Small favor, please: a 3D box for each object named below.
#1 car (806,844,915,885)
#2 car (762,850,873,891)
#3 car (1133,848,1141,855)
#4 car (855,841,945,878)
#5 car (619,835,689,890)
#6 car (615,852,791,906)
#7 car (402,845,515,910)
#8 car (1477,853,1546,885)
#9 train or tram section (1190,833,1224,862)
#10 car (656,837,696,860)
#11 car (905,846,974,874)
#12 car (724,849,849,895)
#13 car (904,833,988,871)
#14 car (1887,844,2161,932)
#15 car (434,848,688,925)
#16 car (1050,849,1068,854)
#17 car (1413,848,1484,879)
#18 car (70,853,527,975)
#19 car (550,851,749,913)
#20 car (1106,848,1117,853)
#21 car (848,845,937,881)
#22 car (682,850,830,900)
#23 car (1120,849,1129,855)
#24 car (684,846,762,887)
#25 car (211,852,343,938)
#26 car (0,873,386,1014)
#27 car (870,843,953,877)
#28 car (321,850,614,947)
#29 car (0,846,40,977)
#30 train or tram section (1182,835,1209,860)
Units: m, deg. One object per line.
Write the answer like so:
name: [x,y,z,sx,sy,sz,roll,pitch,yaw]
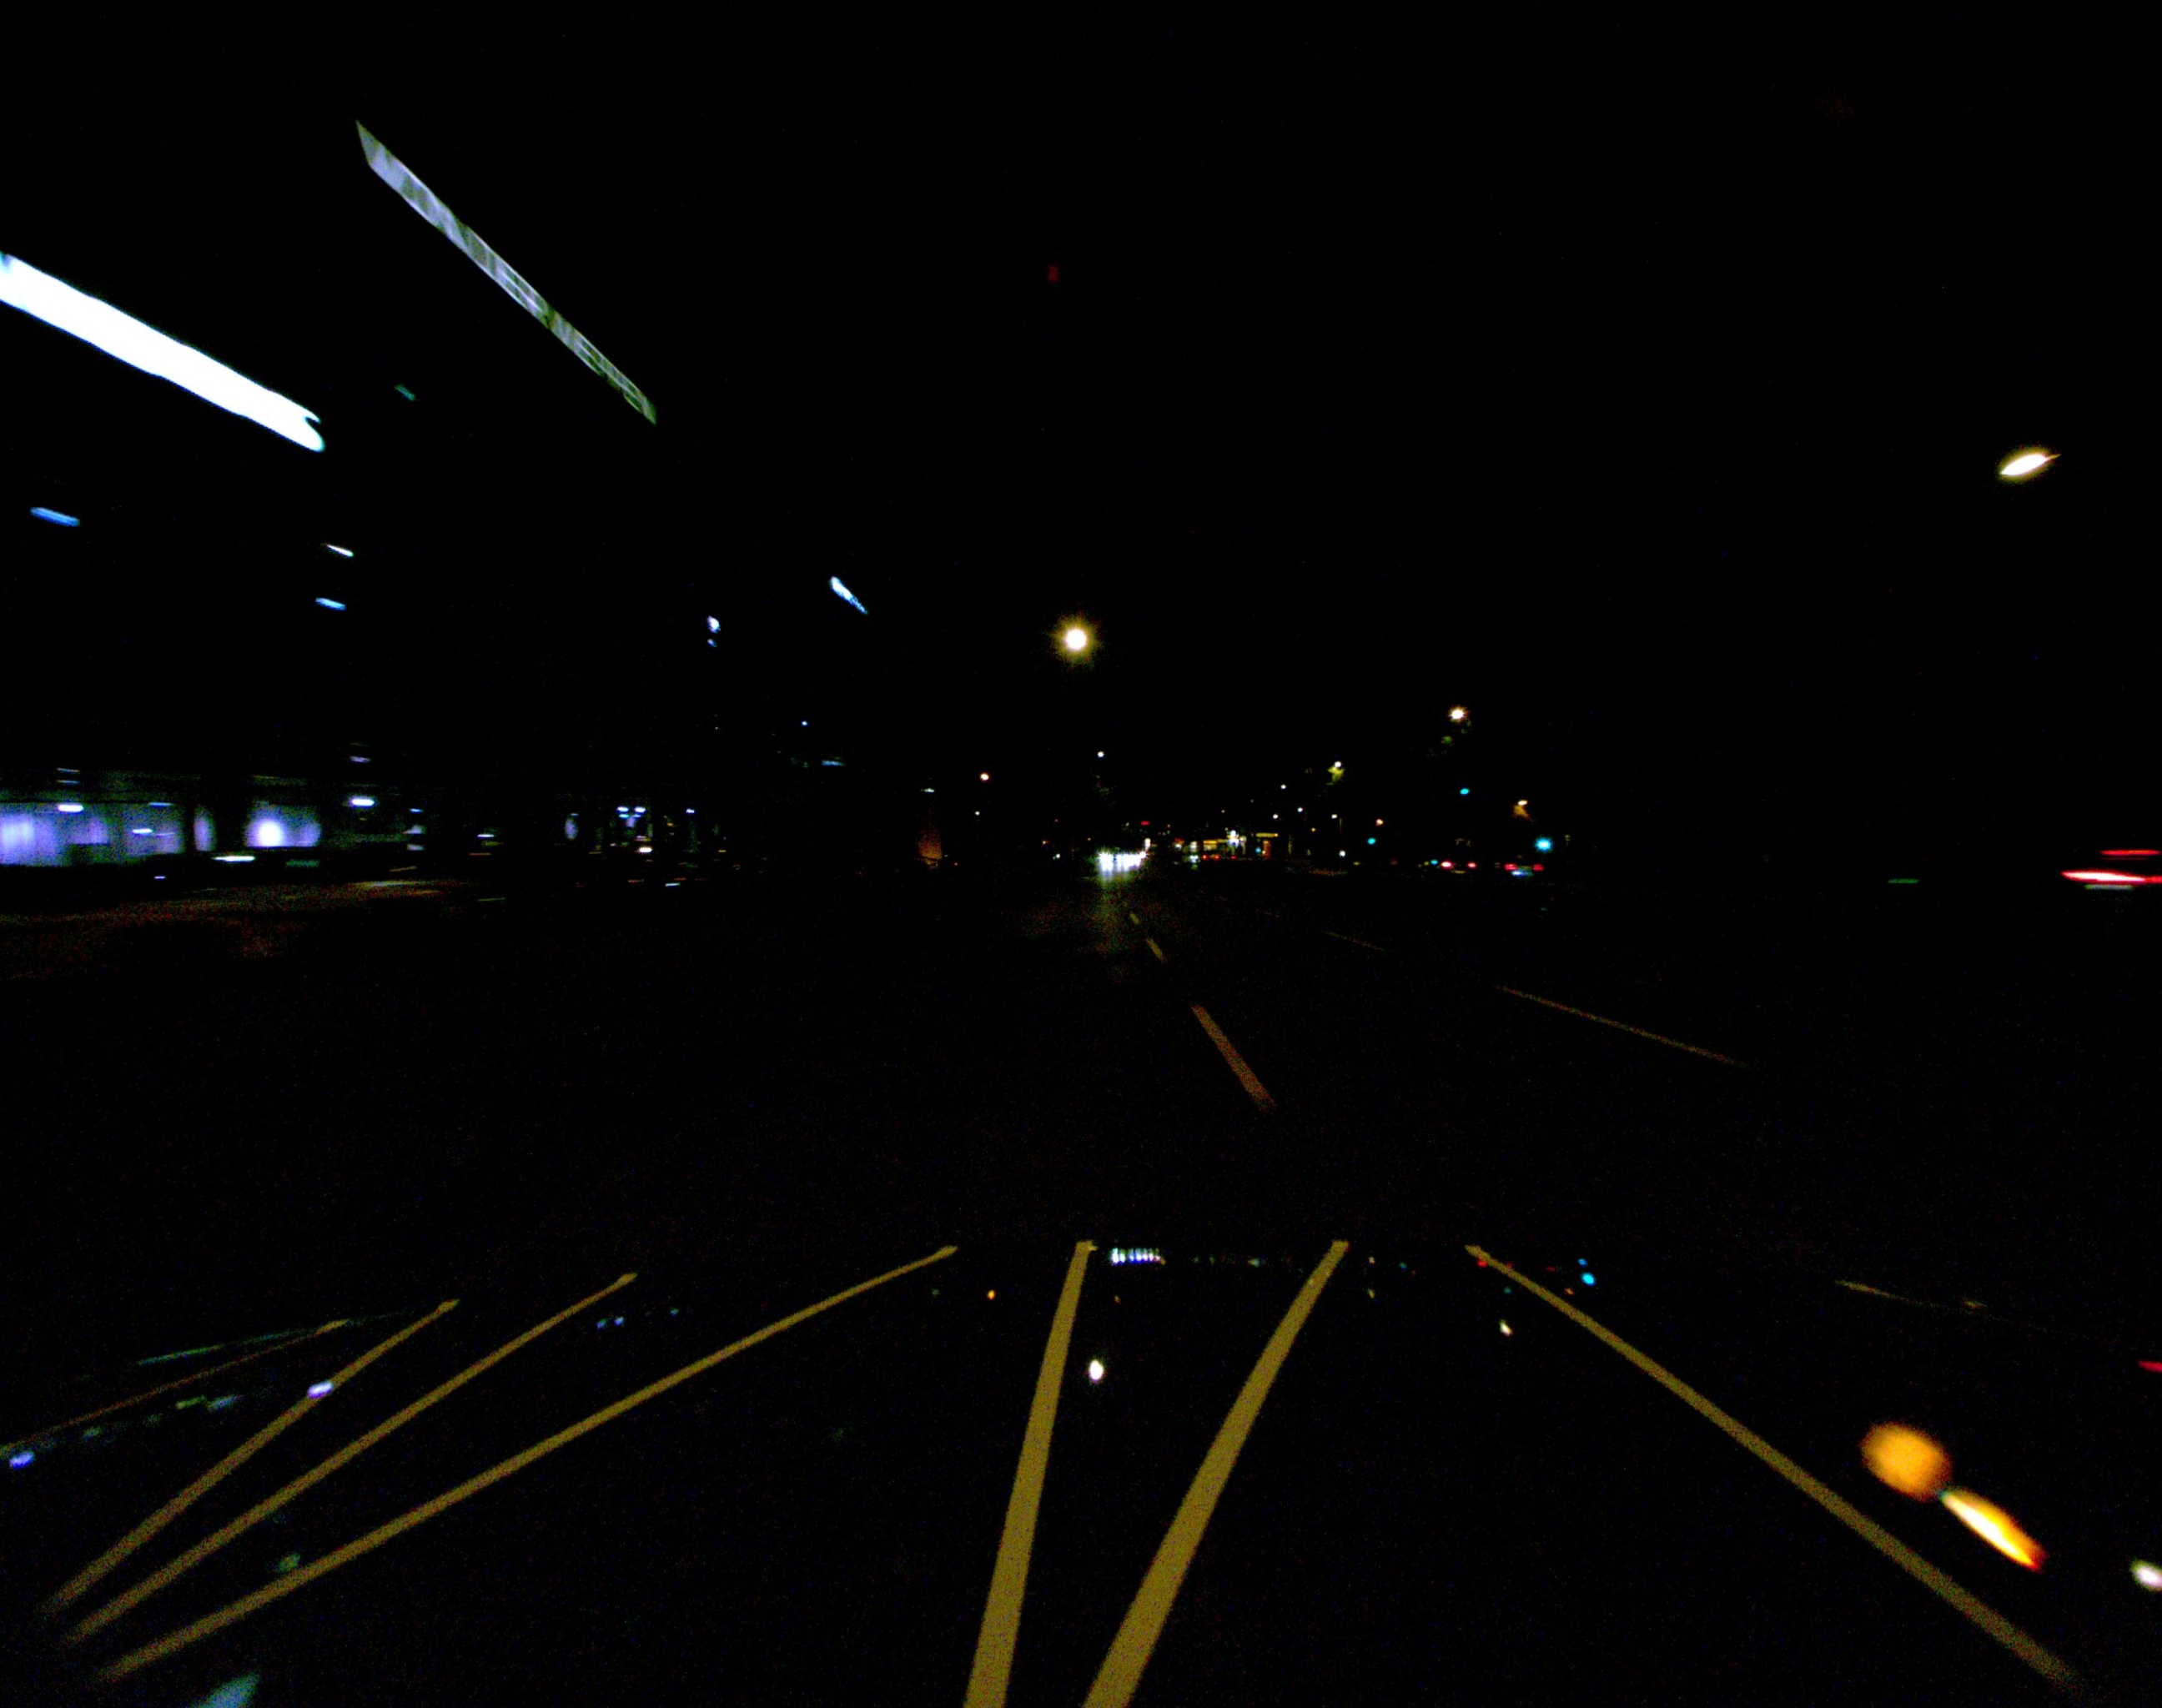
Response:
car: [-10.009,0.478,34.785,4.475,1.539,1.768,4,1,-7]
car: [-10.124,0.630,29.409,3.815,1.444,1.715,2,0,-12]
car: [13.174,-0.637,179.034,1.907,1.609,3.719,-1,1,4]
car: [-9.679,0.316,40.937,4.475,1.677,1.998,4,0,-9]
car: [-16.358,0.290,28.971,1.838,1.907,4.815,-2,1,-35]
car: [-10.431,0.678,21.235,4.000,1.373,1.807,2,0,-9]
car: [-15.458,0.517,19.051,1.629,1.456,3.785,-1,0,-31]
car: [22.965,0.760,40.691,1.664,1.508,3.911,-1,1,4]
train or tram section: [18.117,-0.997,110.395,2.765,3.805,18.673,-1,0,3]
car: [-30.241,-0.455,56.891,2.002,1.652,4.659,-2,2,-20]
car: [-9.045,0.390,48.774,4.216,1.653,1.959,2,0,-9]
car: [-10.295,0.621,26.823,3.781,1.371,1.714,3,0,-11]
car: [-10.455,-0.150,58.664,6.040,2.514,2.280,4,0,-15]
car: [21.251,0.646,17.119,1.784,1.704,4.226,-1,1,2]
car: [-10.637,0.649,15.899,4.003,1.461,1.830,1,0,-17]
car: [-4.941,-0.576,172.444,4.008,1.028,1.480,1,0,-38]
car: [19.993,0.460,41.546,1.789,1.489,4.172,-1,2,-1]
car: [-10.504,0.732,10.619,4.002,1.415,1.907,-1,0,-16]
car: [-10.427,0.674,18.722,4.004,1.383,1.823,1,-1,-20]
car: [7.163,-0.816,178.414,1.946,1.299,3.908,1,1,9]
car: [-9.342,0.447,37.997,4.094,1.559,1.853,3,0,-9]
car: [-10.206,0.647,24.170,4.038,1.365,1.823,3,0,-14]
car: [10.595,-0.455,183.752,1.858,1.482,3.561,-1,0,9]
car: [-14.505,0.476,30.669,1.997,1.521,3.988,1,0,-38]
car: [-15.553,0.730,14.828,1.324,1.478,3.064,-2,1,-39]
car: [-10.664,0.885,7.903,4.649,1.257,1.944,-1,0,-23]
car: [-9.673,0.316,43.733,4.475,1.799,1.998,2,0,-9]
car: [-10.482,0.697,13.328,3.617,1.425,1.676,-2,1,-22]
car: [-15.264,0.879,9.513,1.591,1.786,3.858,-2,4,-38]
train or tram section: [19.296,-1.153,129.397,2.744,3.824,19.367,-1,0,4]
